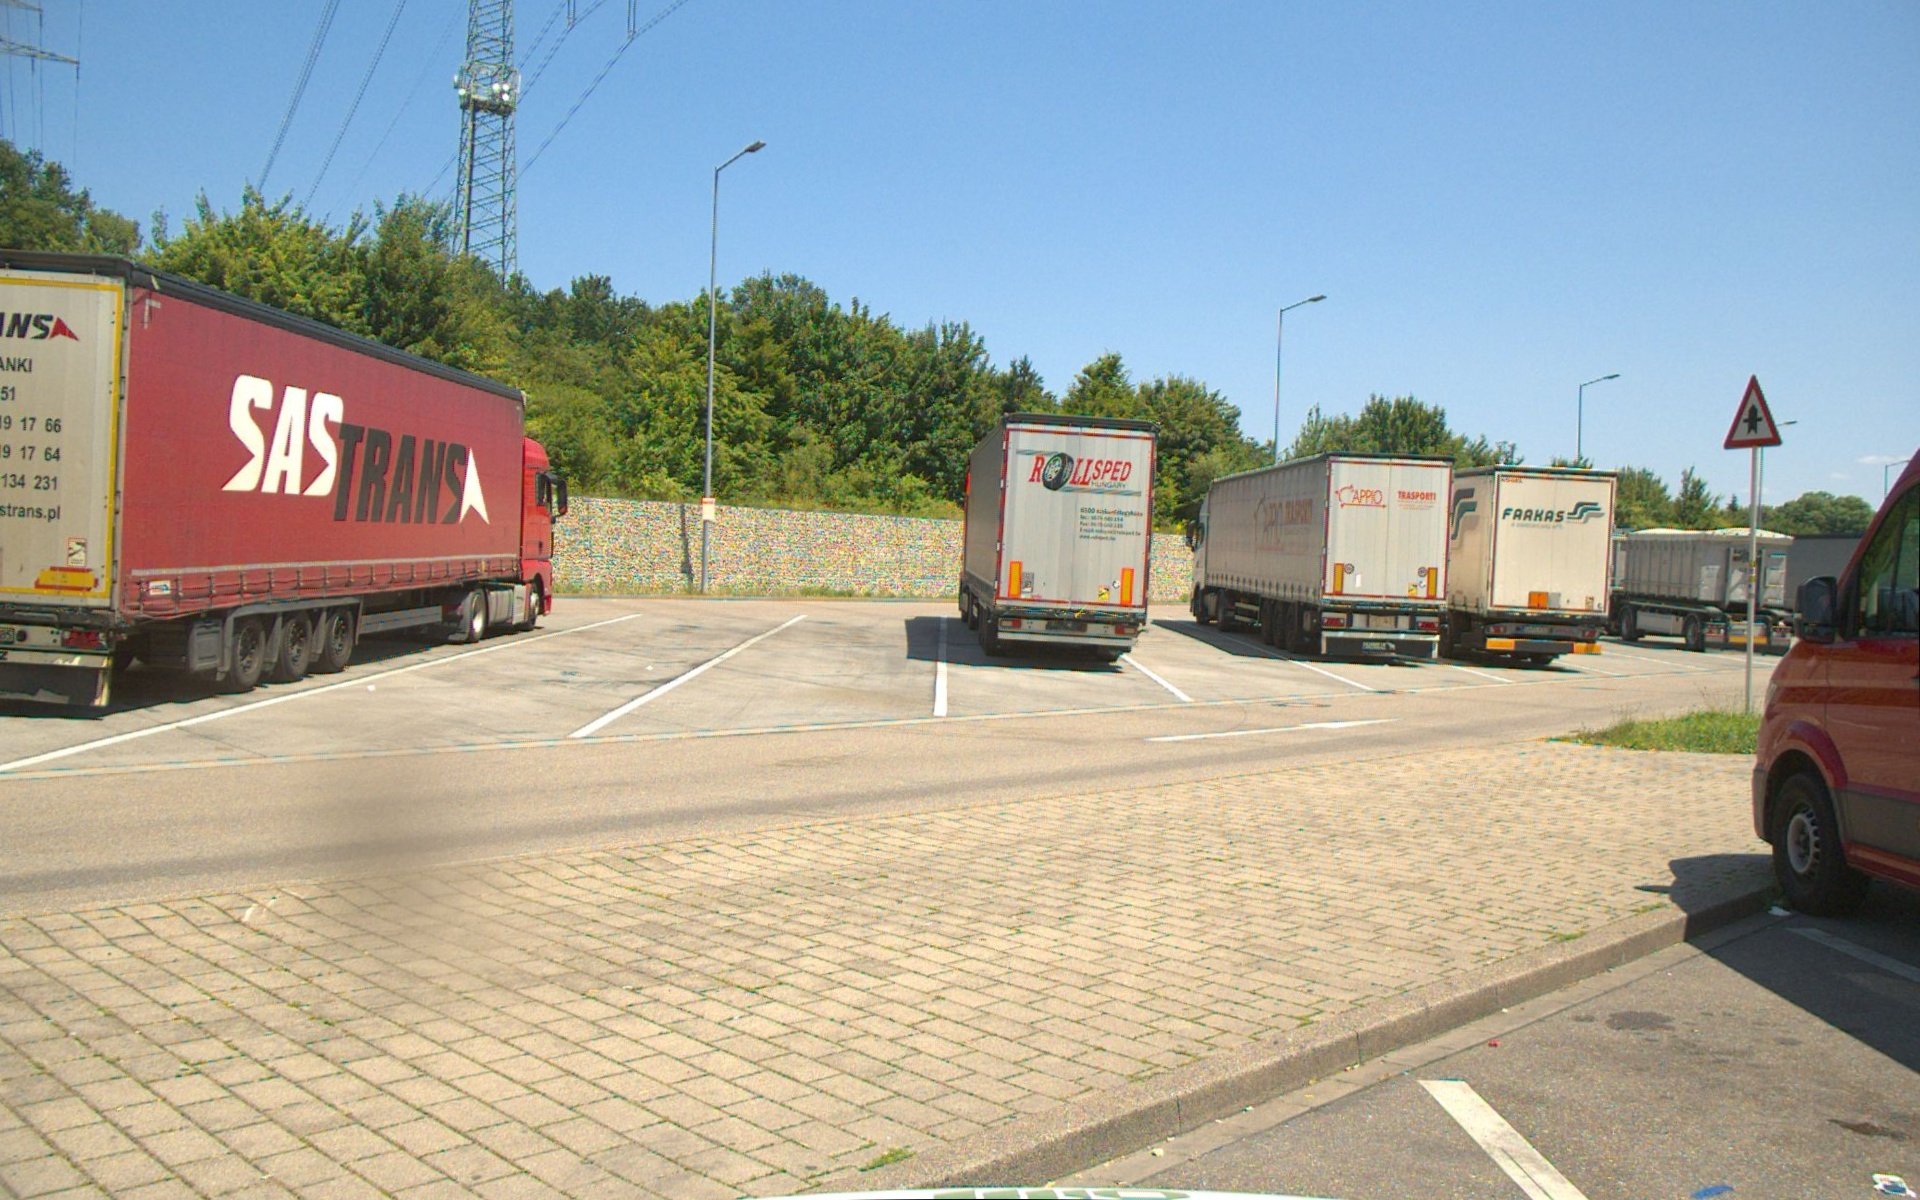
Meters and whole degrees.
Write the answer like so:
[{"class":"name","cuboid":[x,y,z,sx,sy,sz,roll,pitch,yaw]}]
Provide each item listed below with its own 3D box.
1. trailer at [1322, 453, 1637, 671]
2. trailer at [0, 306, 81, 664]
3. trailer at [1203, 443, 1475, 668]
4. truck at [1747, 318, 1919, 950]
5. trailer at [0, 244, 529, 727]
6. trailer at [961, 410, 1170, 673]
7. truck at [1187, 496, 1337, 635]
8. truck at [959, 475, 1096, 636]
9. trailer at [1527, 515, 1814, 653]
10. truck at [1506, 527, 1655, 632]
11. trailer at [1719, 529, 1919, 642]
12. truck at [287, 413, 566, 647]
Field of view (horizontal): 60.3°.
[{"class":"trailer","cuboid":[11.770,-0.987,39.558,2.800,4.180,13.762,2,2,-1]},{"class":"trailer","cuboid":[-12.489,-1.257,15.790,2.651,4.173,10.389,2,2,-1]},{"class":"trailer","cuboid":[8.250,-1.098,38.495,2.800,4.180,13.762,2,2,-1]},{"class":"truck","cuboid":[4.990,0.157,5.511,1.969,2.697,6.457,1,0,3]},{"class":"trailer","cuboid":[-8.692,-1.268,21.246,2.764,4.141,13.763,2,2,-1]},{"class":"trailer","cuboid":[1.676,-1.172,33.142,2.800,4.040,13.761,2,2,-2]},{"class":"truck","cuboid":[8.129,-0.980,45.257,2.808,3.421,5.974,2,2,-1]},{"class":"truck","cuboid":[1.476,-1.088,39.339,2.808,3.421,5.974,2,2,-1]},{"class":"trailer","cuboid":[21.839,-0.676,52.236,2.800,3.662,13.762,2,2,-1]},{"class":"truck","cuboid":[21.741,-0.790,58.331,2.808,3.421,5.974,2,2,-1]},{"class":"trailer","cuboid":[34.793,-0.704,65.433,2.800,3.972,13.762,2,2,-1]},{"class":"truck","cuboid":[-8.800,-1.159,28.062,2.755,3.421,5.974,2,2,-1]}]
